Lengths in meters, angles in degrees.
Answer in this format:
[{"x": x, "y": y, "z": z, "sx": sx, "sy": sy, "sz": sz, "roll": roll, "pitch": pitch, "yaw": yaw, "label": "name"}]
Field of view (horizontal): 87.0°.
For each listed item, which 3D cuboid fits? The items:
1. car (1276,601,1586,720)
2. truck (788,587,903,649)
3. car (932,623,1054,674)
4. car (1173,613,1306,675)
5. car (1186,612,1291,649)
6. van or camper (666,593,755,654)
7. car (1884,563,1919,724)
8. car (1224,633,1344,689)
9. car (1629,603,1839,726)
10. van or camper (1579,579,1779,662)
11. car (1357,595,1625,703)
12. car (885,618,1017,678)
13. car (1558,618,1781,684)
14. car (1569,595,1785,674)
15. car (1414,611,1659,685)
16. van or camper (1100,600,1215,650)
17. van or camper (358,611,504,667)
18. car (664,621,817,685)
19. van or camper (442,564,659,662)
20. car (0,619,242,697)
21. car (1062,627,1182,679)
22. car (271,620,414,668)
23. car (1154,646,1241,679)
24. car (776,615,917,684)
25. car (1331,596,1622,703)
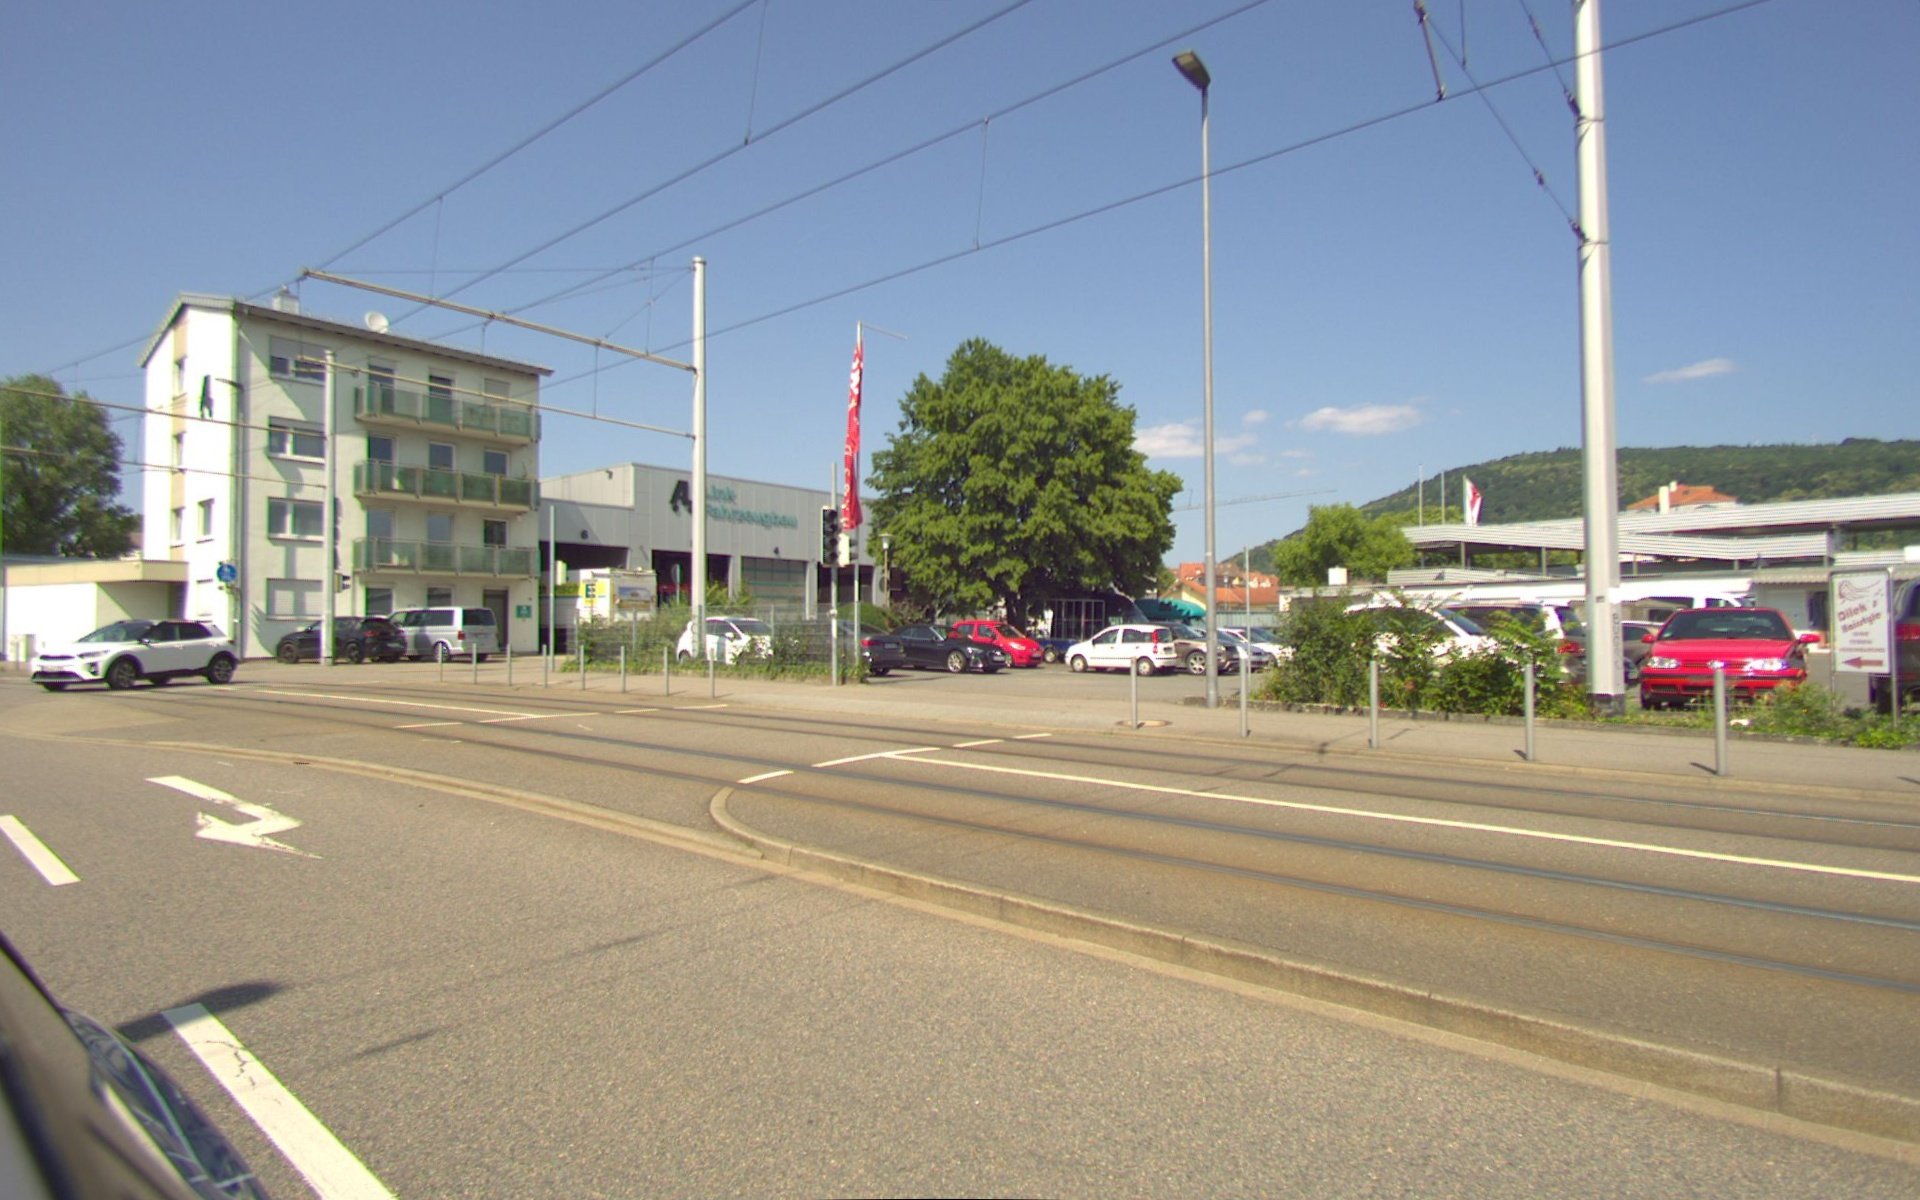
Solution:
[{"x": 6.936, "y": 0.846, "z": 15.190, "sx": 1.714, "sy": 1.553, "sz": 3.841, "roll": 1, "pitch": -2, "yaw": -42, "label": "car"}, {"x": -7.438, "y": 1.192, "z": 64.992, "sx": 7.854, "sy": 3.810, "sz": 2.590, "roll": -1, "pitch": -2, "yaw": 40, "label": "truck"}, {"x": 1.098, "y": 1.624, "z": 34.405, "sx": 3.832, "sy": 1.605, "sz": 1.832, "roll": -2, "pitch": -2, "yaw": 39, "label": "car"}, {"x": 9.799, "y": 1.580, "z": 35.728, "sx": 1.970, "sy": 2.029, "sz": 4.004, "roll": 0, "pitch": -4, "yaw": -43, "label": "car"}, {"x": 12.190, "y": 1.338, "z": 44.377, "sx": 3.997, "sy": 1.567, "sz": 1.973, "roll": -2, "pitch": -2, "yaw": 40, "label": "car"}, {"x": -13.755, "y": 1.346, "z": 55.666, "sx": 5.050, "sy": 3.230, "sz": 1.975, "roll": -2, "pitch": -2, "yaw": 37, "label": "van or camper"}, {"x": 12.123, "y": 0.476, "z": 11.737, "sx": 2.000, "sy": 1.719, "sz": 3.943, "roll": -2, "pitch": -2, "yaw": 43, "label": "car"}, {"x": 12.775, "y": 2.438, "z": 40.102, "sx": 1.970, "sy": 2.029, "sz": 4.004, "roll": 0, "pitch": -4, "yaw": -43, "label": "car"}, {"x": 10.270, "y": 0.771, "z": 13.333, "sx": 1.749, "sy": 1.381, "sz": 3.781, "roll": -2, "pitch": -2, "yaw": 44, "label": "car"}, {"x": 21.453, "y": 0.637, "z": 30.327, "sx": 1.755, "sy": 2.323, "sz": 4.605, "roll": 1, "pitch": -2, "yaw": -45, "label": "van or camper"}, {"x": 9.851, "y": 0.888, "z": 19.008, "sx": 1.969, "sy": 1.798, "sz": 4.006, "roll": 1, "pitch": -2, "yaw": -41, "label": "car"}, {"x": -0.318, "y": 1.376, "z": 29.778, "sx": 1.828, "sy": 1.633, "sz": 3.841, "roll": 1, "pitch": -2, "yaw": -42, "label": "car"}, {"x": 18.406, "y": 1.292, "z": 26.418, "sx": 1.961, "sy": 1.569, "sz": 4.430, "roll": 2, "pitch": -3, "yaw": -42, "label": "car"}, {"x": 19.929, "y": 0.954, "z": 28.284, "sx": 2.027, "sy": 2.029, "sz": 4.585, "roll": 1, "pitch": -2, "yaw": -43, "label": "car"}, {"x": 11.781, "y": 0.959, "z": 20.866, "sx": 1.818, "sy": 1.369, "sz": 4.006, "roll": 1, "pitch": -2, "yaw": -41, "label": "car"}, {"x": 8.507, "y": 1.098, "z": 43.887, "sx": 1.970, "sy": 2.023, "sz": 4.648, "roll": 1, "pitch": -2, "yaw": -43, "label": "van or camper"}, {"x": -18.753, "y": 1.364, "z": 35.913, "sx": 4.519, "sy": 1.922, "sz": 1.988, "roll": 0, "pitch": -2, "yaw": 19, "label": "van or camper"}, {"x": -5.517, "y": 1.250, "z": 25.203, "sx": 3.952, "sy": 1.444, "sz": 1.690, "roll": -1, "pitch": -1, "yaw": 41, "label": "car"}, {"x": -18.806, "y": 0.746, "z": 45.947, "sx": 11.596, "sy": 3.721, "sz": 2.751, "roll": -4, "pitch": -3, "yaw": 31, "label": "van or camper"}, {"x": -18.298, "y": 1.218, "z": 22.340, "sx": 1.716, "sy": 1.542, "sz": 4.101, "roll": -1, "pitch": -2, "yaw": 6, "label": "car"}, {"x": 4.971, "y": 1.606, "z": 31.248, "sx": 3.384, "sy": 1.496, "sz": 1.498, "roll": -2, "pitch": -2, "yaw": 38, "label": "car"}, {"x": -20.560, "y": 1.466, "z": 33.765, "sx": 3.935, "sy": 1.532, "sz": 1.872, "roll": -1, "pitch": -2, "yaw": 14, "label": "car"}, {"x": 7.425, "y": 1.931, "z": 31.675, "sx": 2.314, "sy": 0.953, "sz": 1.273, "roll": -2, "pitch": -2, "yaw": 38, "label": "car"}, {"x": -3.022, "y": 1.292, "z": 26.385, "sx": 1.742, "sy": 1.633, "sz": 3.841, "roll": 0, "pitch": -3, "yaw": -42, "label": "car"}, {"x": 8.541, "y": 0.792, "z": 16.980, "sx": 1.828, "sy": 1.580, "sz": 3.940, "roll": 1, "pitch": -2, "yaw": -41, "label": "car"}]
